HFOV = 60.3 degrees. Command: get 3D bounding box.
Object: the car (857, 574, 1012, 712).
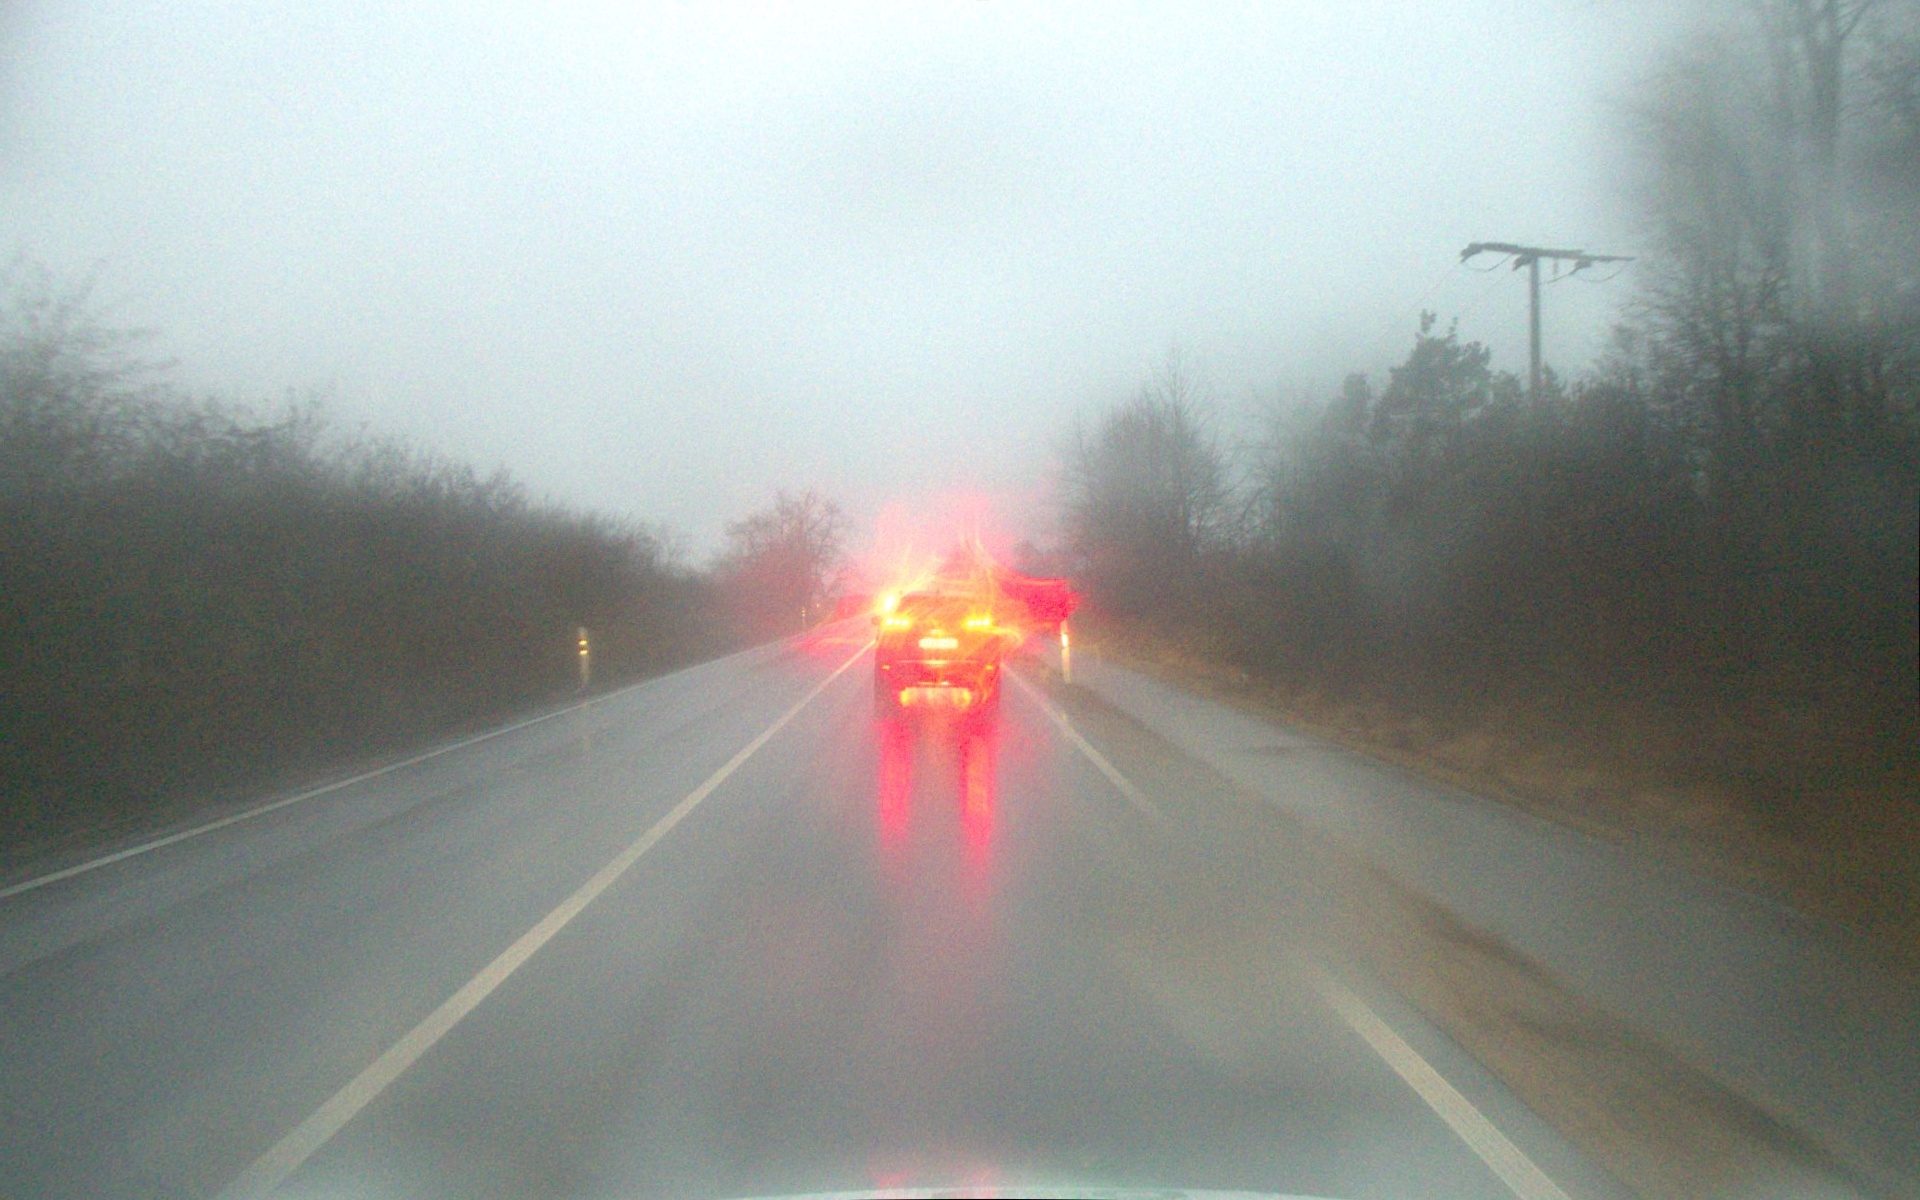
[{"bbox_3d":[-0.388,0.566,24.820,2.077,1.852,4.979,0,0,-1],"label":"car"}]
